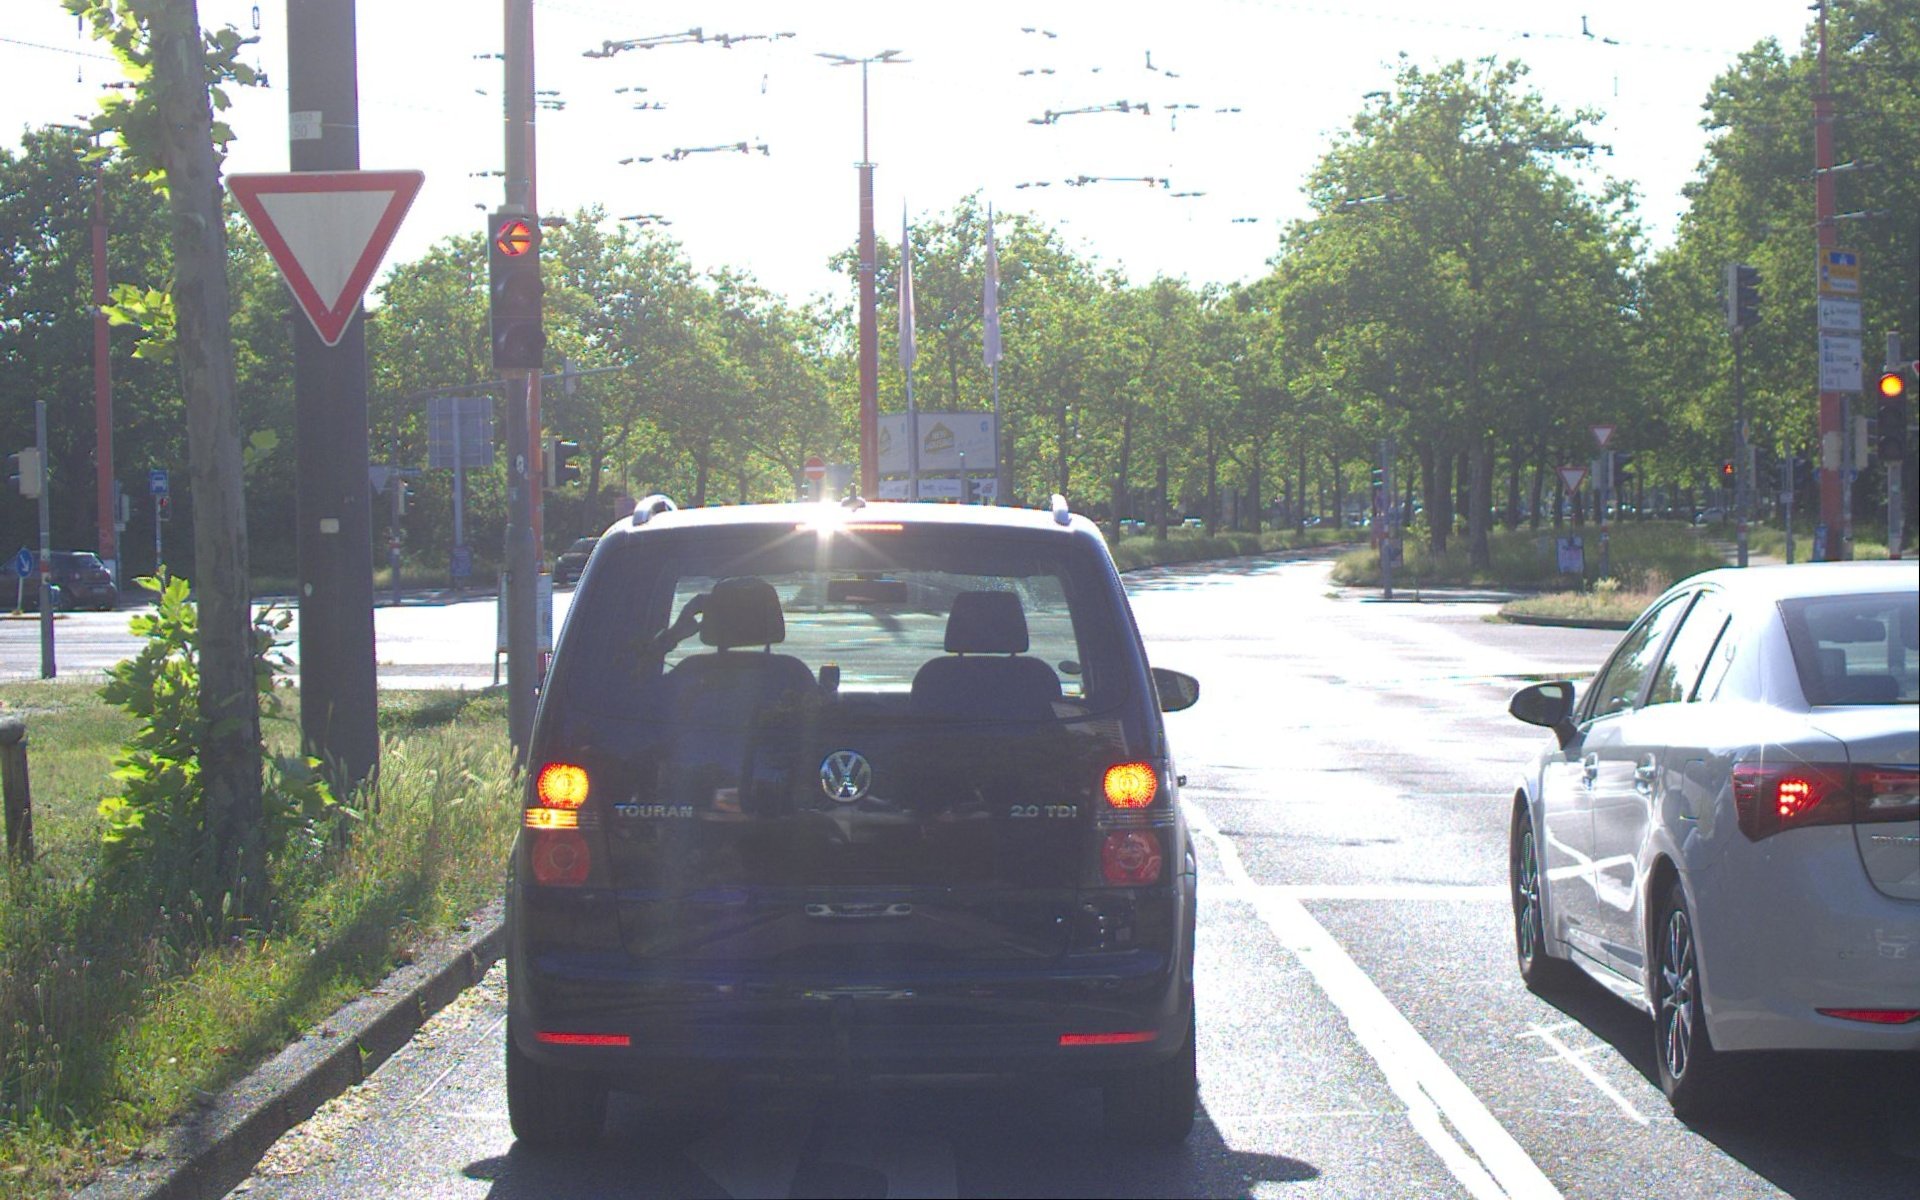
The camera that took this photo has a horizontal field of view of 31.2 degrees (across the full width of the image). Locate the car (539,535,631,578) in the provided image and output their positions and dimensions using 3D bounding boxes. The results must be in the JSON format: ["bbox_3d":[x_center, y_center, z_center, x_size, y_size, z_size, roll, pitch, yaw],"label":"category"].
[{"bbox_3d":[-12.205,-1.433,112.236,1.652,1.398,4.130,0,1,14],"label":"car"}]

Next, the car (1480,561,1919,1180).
[{"bbox_3d":[2.755,0.618,10.156,1.799,1.435,4.326,1,1,1],"label":"car"}]

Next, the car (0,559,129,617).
[{"bbox_3d":[-22.980,-0.309,85.990,4.124,1.398,1.654,1,1,25],"label":"car"}]

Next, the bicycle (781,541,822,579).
[{"bbox_3d":[-5.948,-1.513,129.371,0.977,1.384,2.978,0,1,8],"label":"bicycle"}]

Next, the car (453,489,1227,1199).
[{"bbox_3d":[-0.255,0.537,9.978,1.738,1.597,4.326,1,1,1],"label":"car"}]

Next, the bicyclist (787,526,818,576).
[{"bbox_3d":[-5.942,-1.847,129.406,0.977,1.897,1.050,0,1,8],"label":"bicyclist"}]
